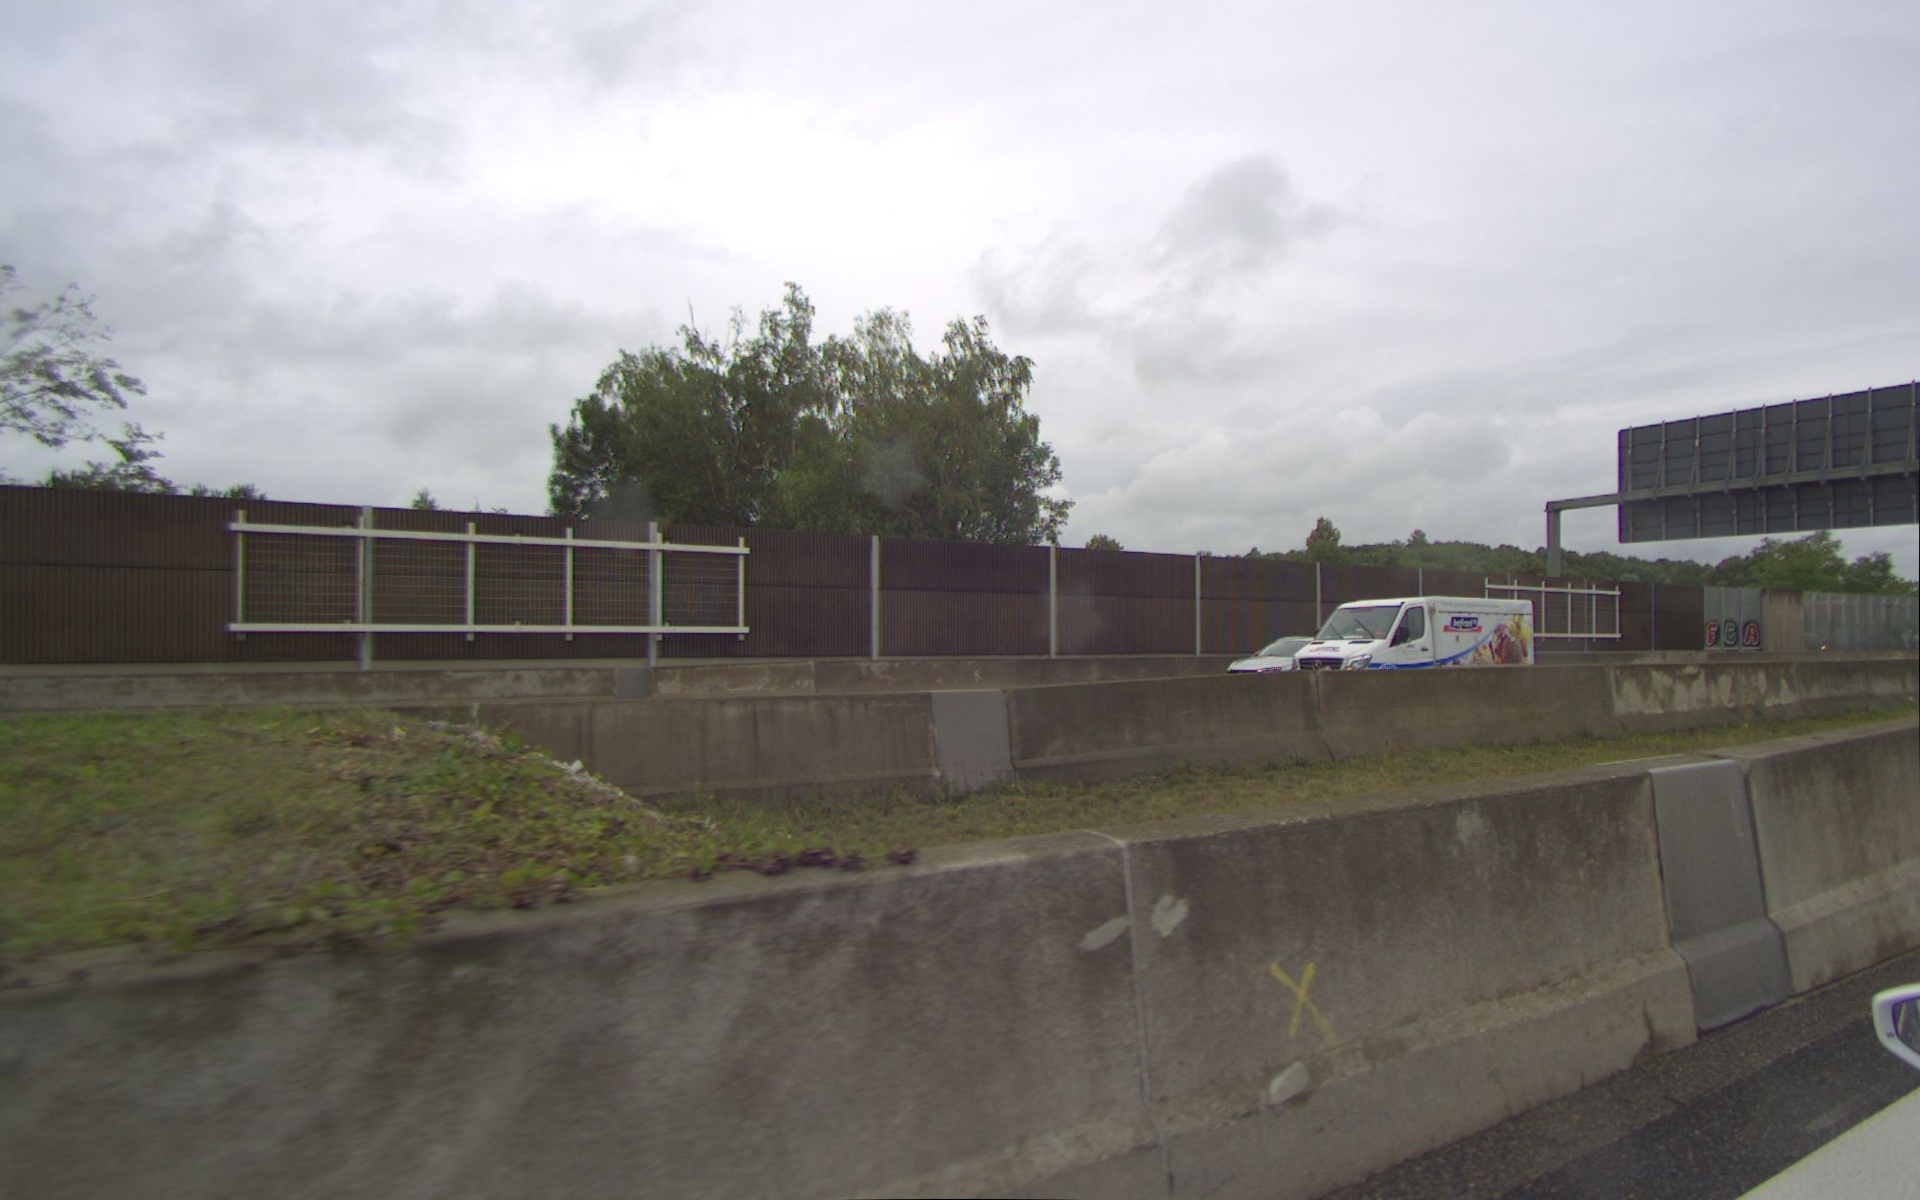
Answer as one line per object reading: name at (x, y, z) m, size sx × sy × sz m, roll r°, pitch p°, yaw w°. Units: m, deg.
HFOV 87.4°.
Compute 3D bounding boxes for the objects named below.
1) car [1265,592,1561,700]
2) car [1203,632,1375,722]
car at (9.900, 0.929, 21.682) m, size 6.976 × 2.040 × 2.203 m, roll 1°, pitch 0°, yaw -30°
car at (8.210, 1.843, 25.017) m, size 3.954 × 2.007 × 1.983 m, roll 1°, pitch 0°, yaw -31°
